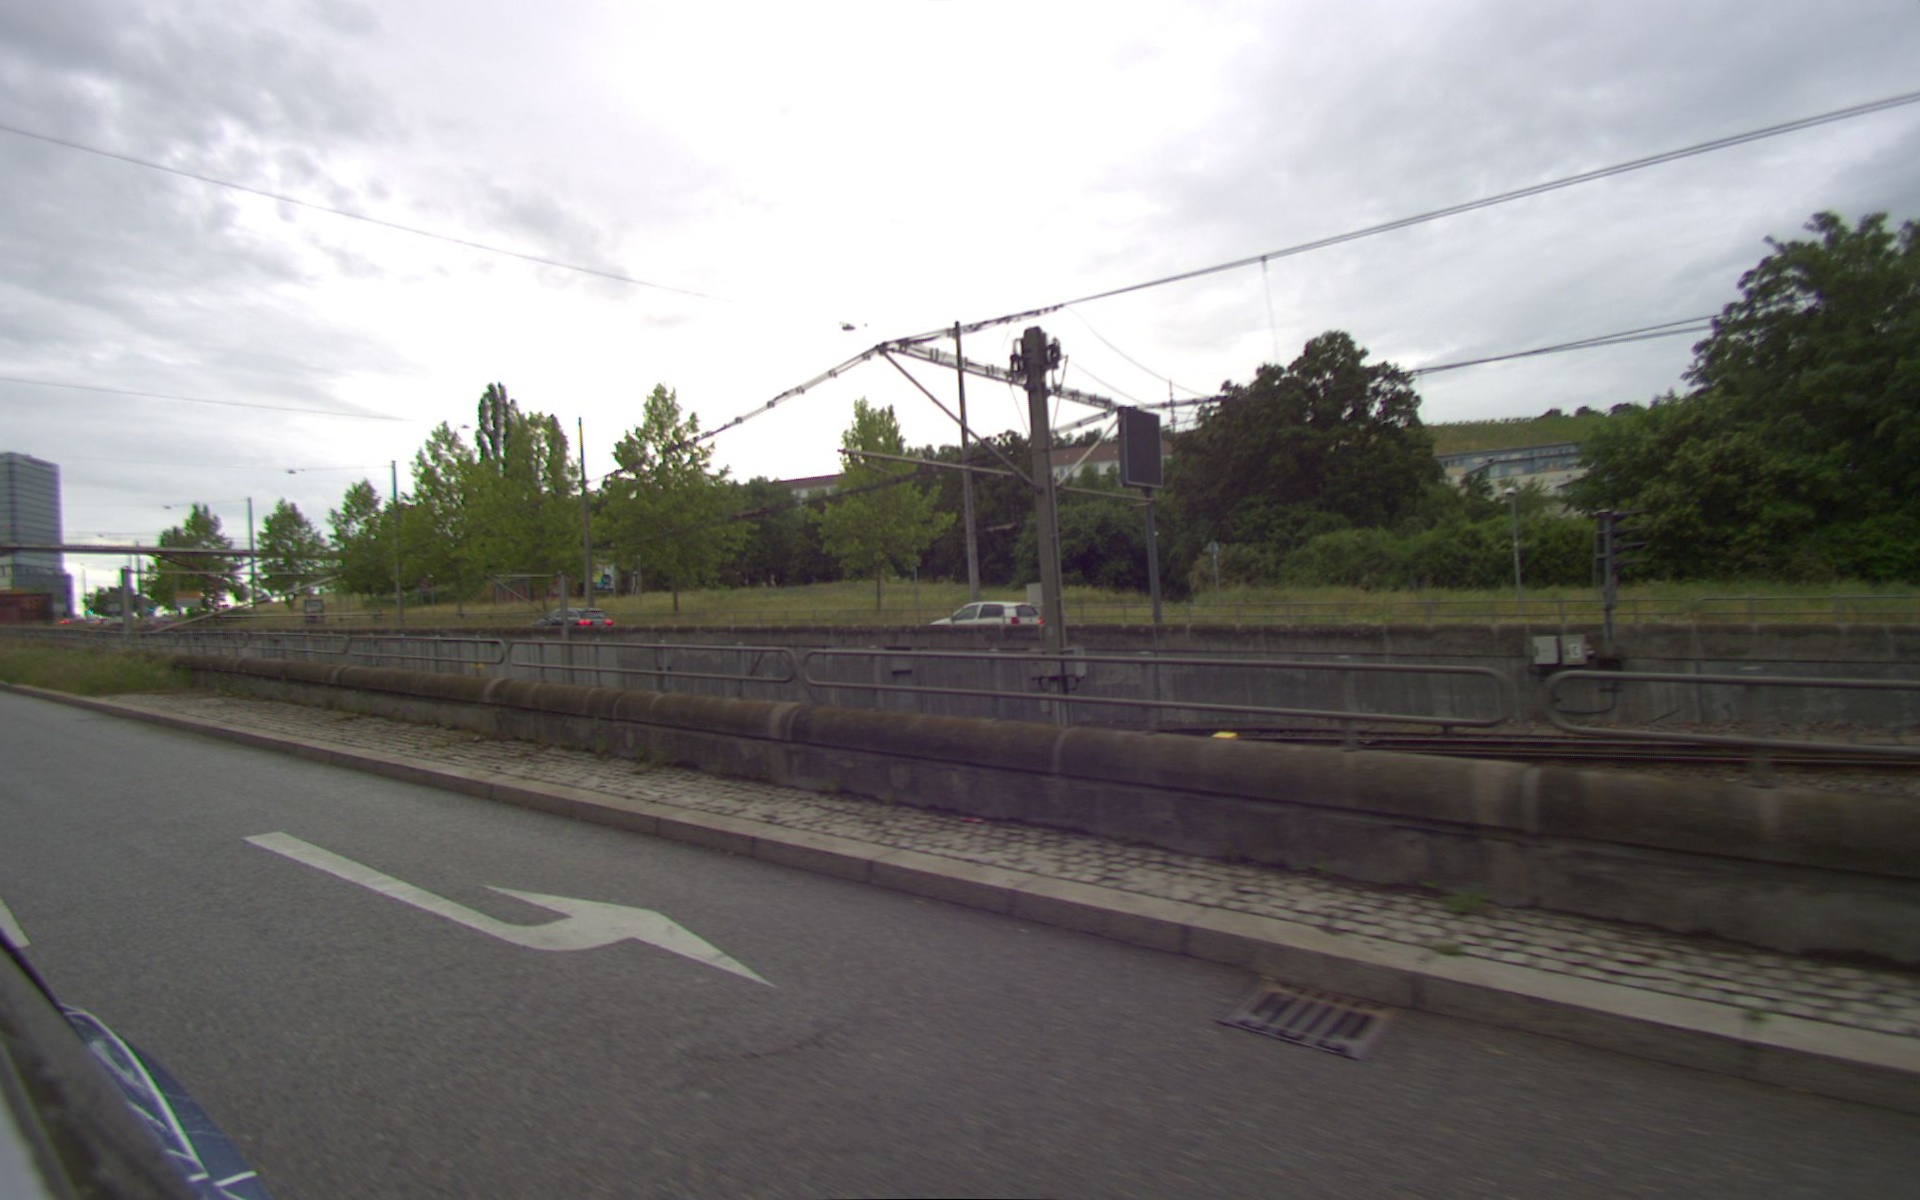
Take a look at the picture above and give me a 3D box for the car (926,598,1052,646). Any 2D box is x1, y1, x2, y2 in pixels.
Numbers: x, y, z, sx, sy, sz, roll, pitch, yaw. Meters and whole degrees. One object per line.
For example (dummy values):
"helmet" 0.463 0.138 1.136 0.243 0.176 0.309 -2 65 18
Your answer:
"car" 0.832 0.665 30.199 3.556 1.301 1.540 -2 0 40

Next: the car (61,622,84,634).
"car" -117.367 3.687 133.840 4.432 1.539 1.640 -2 0 40

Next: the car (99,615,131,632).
"car" -85.415 2.355 102.296 3.969 1.653 1.872 -2 0 40

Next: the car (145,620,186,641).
"car" -69.891 2.672 89.013 4.354 1.656 1.872 -1 3 40

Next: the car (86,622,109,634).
"car" -122.490 3.946 143.683 3.784 1.585 1.642 -1 3 37

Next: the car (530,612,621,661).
"car" -17.364 1.621 45.629 4.028 1.985 1.874 -1 3 37
